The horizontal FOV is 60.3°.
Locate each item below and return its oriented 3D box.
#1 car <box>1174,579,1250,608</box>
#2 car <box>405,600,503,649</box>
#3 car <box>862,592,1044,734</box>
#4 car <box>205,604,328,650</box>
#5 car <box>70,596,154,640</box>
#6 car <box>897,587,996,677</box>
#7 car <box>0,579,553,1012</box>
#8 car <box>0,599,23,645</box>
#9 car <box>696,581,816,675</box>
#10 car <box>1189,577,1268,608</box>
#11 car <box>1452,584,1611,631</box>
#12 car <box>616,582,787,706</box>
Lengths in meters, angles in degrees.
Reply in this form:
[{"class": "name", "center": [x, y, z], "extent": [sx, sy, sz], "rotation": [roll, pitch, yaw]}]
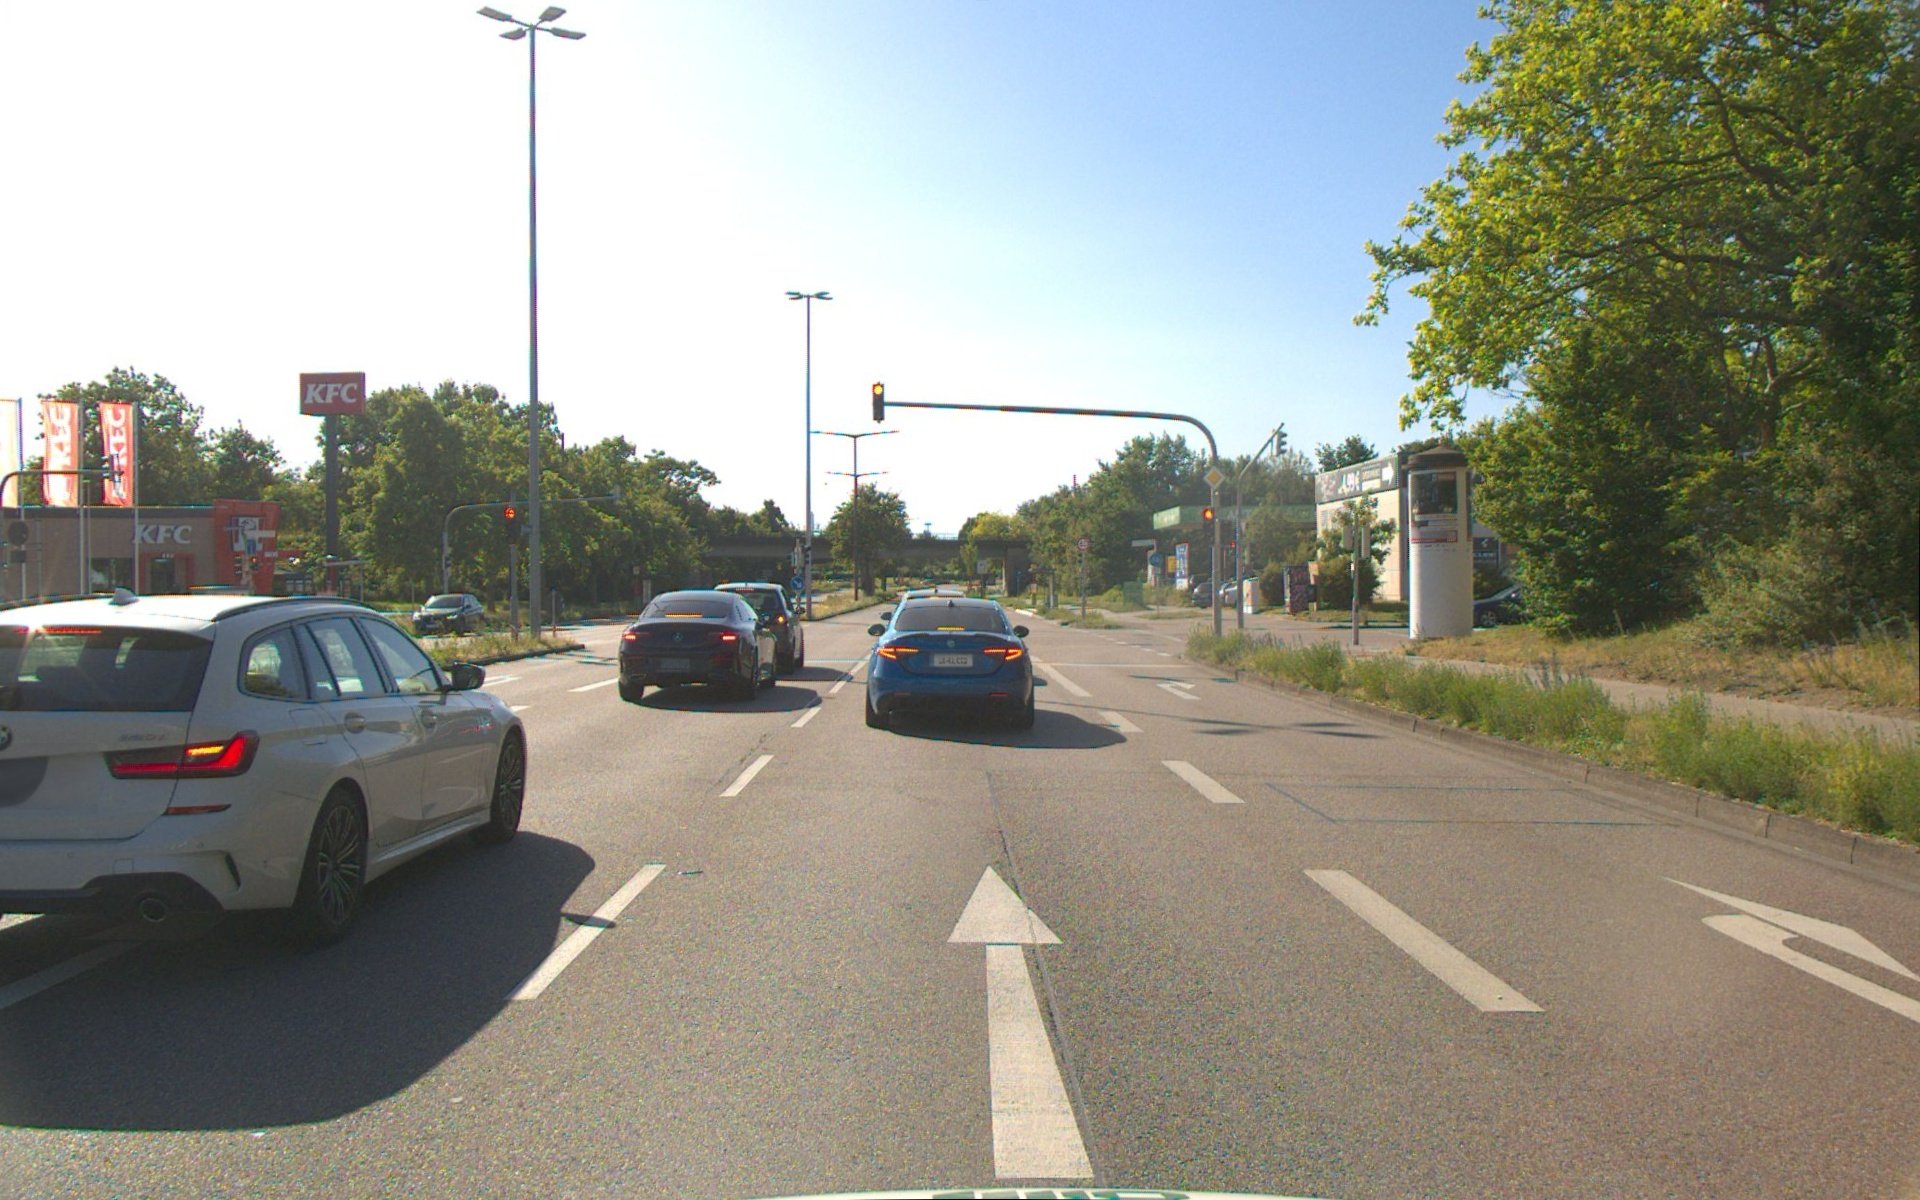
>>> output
[{"class": "car", "center": [14.661, -0.359, 96.390], "extent": [3.925, 1.579, 1.990], "rotation": [1, 0, -18]}, {"class": "car", "center": [-19.363, 0.920, 63.510], "extent": [1.764, 1.756, 4.326], "rotation": [0, 1, 11]}, {"class": "car", "center": [-0.037, 0.663, 19.076], "extent": [1.870, 1.447, 3.719], "rotation": [1, 0, 1]}, {"class": "car", "center": [-24.816, 0.960, 59.231], "extent": [3.730, 1.586, 1.975], "rotation": [1, 0, -36]}, {"class": "car", "center": [-35.745, 0.750, 69.655], "extent": [4.026, 1.770, 1.922], "rotation": [1, -1, 43]}, {"class": "car", "center": [-0.198, 0.557, 30.180], "extent": [1.669, 1.523, 3.719], "rotation": [1, 0, 1]}, {"class": "car", "center": [-3.439, 0.693, 8.116], "extent": [1.775, 1.512, 4.595], "rotation": [1, 0, -1]}, {"class": "car", "center": [-39.108, 0.845, 65.960], "extent": [4.026, 1.770, 1.922], "rotation": [1, -1, 43]}, {"class": "car", "center": [-3.672, 0.494, 30.353], "extent": [1.776, 1.578, 4.351], "rotation": [1, 0, -2]}, {"class": "car", "center": [14.224, -0.390, 87.829], "extent": [3.905, 1.579, 2.000], "rotation": [1, 0, 0]}, {"class": "car", "center": [19.131, 0.260, 55.485], "extent": [4.722, 1.493, 1.758], "rotation": [1, 0, -2]}, {"class": "car", "center": [-3.538, 0.547, 23.406], "extent": [1.775, 1.578, 4.542], "rotation": [0, 0, -1]}]
